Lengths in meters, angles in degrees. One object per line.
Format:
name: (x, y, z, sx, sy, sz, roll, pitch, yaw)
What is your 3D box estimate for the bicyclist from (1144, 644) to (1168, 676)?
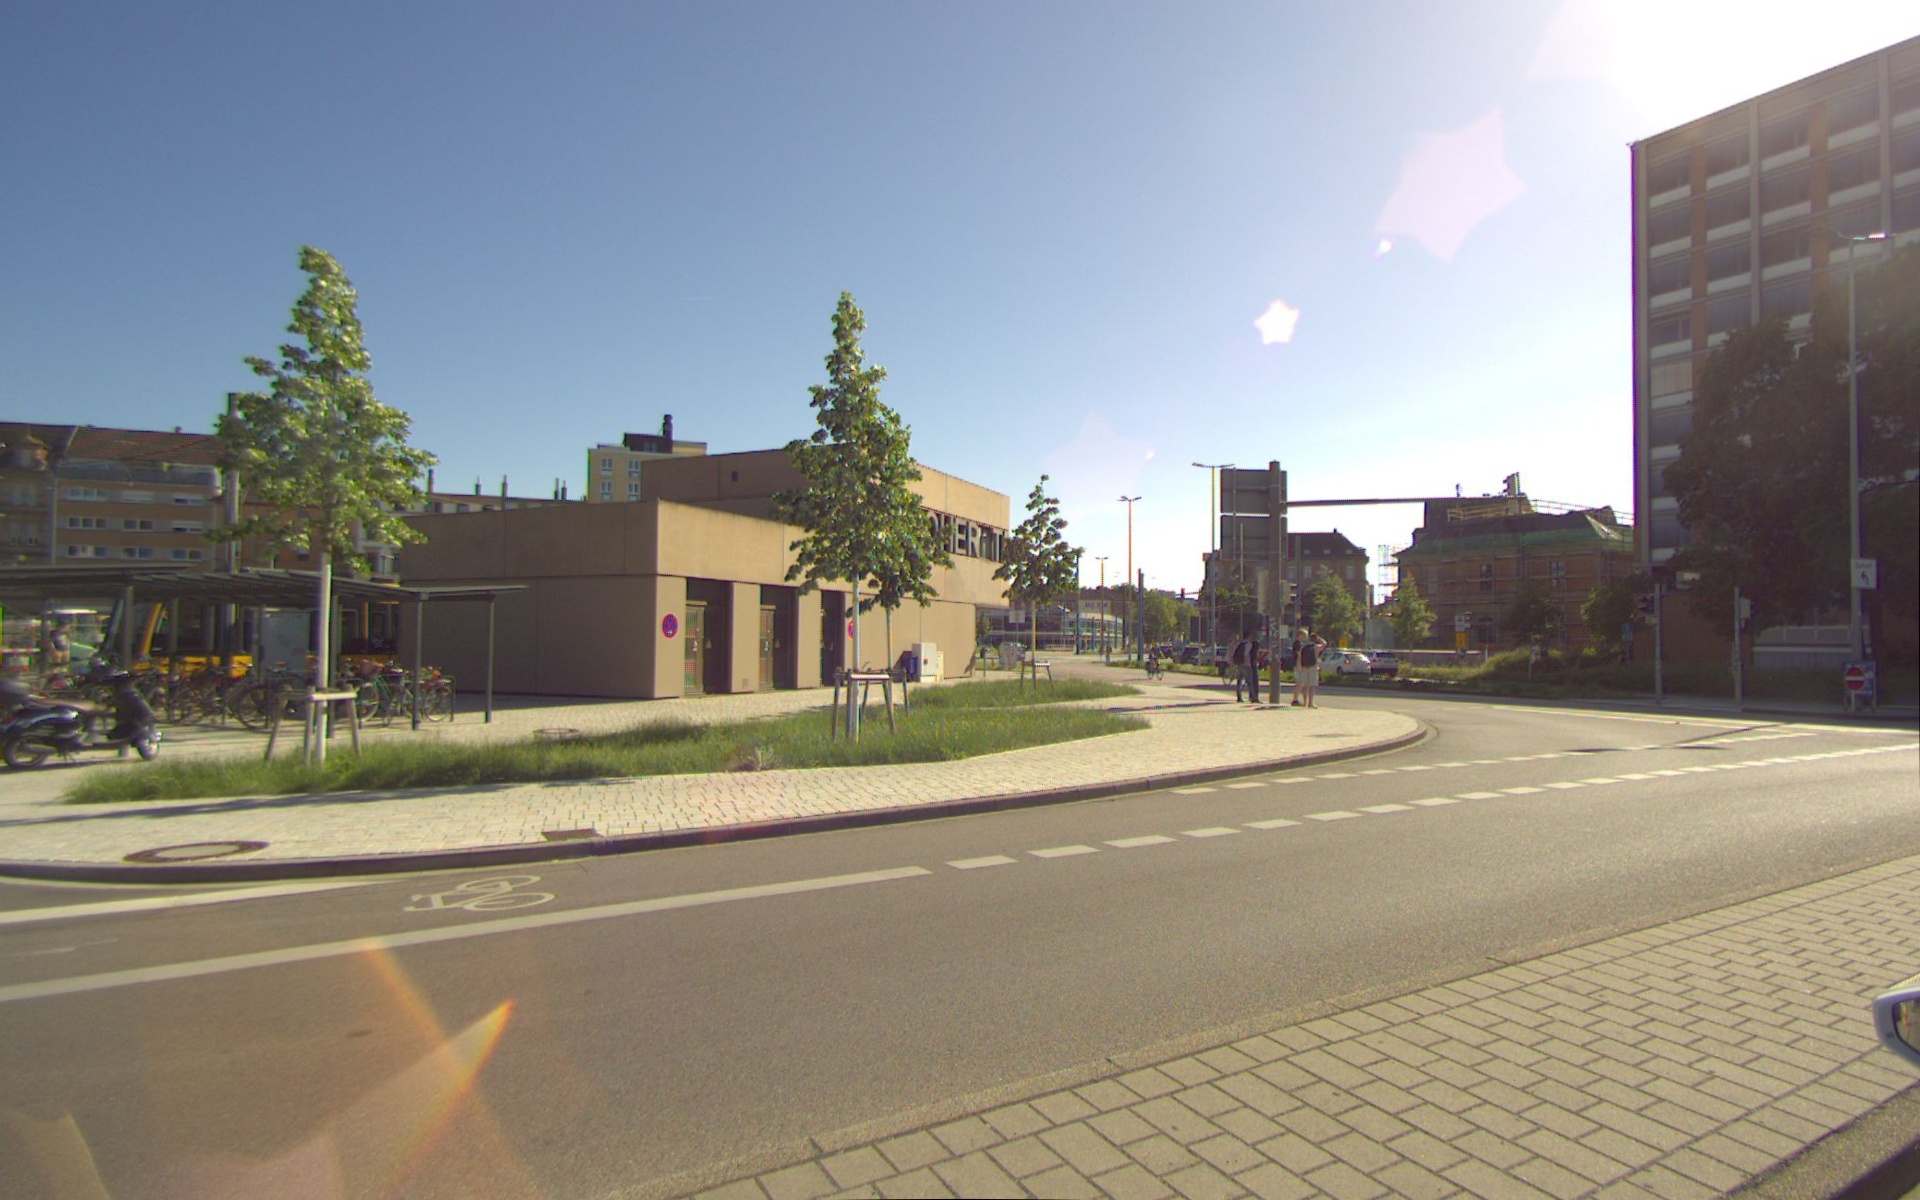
bicyclist: (8.848, 2.722, 45.420, 0.675, 1.440, 1.126, 1, -4, -12)

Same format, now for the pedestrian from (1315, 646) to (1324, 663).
pedestrian: (38.007, 5.763, 106.202, 0.645, 1.758, 0.680, 0, -2, 1)

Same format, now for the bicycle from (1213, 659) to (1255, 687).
bicycle: (10.110, 2.681, 37.128, 0.728, 1.008, 1.988, 1, -4, -11)

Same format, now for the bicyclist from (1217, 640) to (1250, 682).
bicyclist: (10.122, 2.253, 37.153, 0.729, 1.519, 1.069, 1, -4, -15)

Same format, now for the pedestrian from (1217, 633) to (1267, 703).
pedestrian: (7.156, 1.735, 25.469, 0.831, 1.711, 0.896, 5, -5, -34)

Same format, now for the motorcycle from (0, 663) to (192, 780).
motorcycle: (-10.846, 1.450, 12.474, 0.558, 1.235, 2.087, 0, -1, 21)

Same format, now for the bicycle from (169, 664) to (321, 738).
bicycle: (-11.953, 1.657, 16.875, 0.524, 1.051, 2.070, 2, 0, 26)

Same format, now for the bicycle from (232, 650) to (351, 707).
bicycle: (-13.914, 1.618, 20.991, 0.524, 1.051, 2.070, 2, 0, 26)

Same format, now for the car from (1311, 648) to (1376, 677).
car: (21.289, 3.459, 55.922, 1.711, 1.454, 3.843, 1, -2, -10)

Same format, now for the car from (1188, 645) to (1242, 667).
car: (17.273, 3.769, 68.322, 1.810, 1.406, 4.895, 1, -2, -8)

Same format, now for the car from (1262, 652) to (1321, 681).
car: (20.703, 4.137, 62.885, 1.810, 1.653, 4.382, 1, -2, -8)

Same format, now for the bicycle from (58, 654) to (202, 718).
bicycle: (-15.899, 1.627, 19.318, 0.524, 1.051, 2.070, 5, 1, 26)

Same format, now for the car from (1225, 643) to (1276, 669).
car: (20.044, 3.844, 69.430, 1.810, 1.653, 4.382, 1, -2, -8)

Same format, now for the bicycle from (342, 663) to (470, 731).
bicycle: (-9.964, 1.724, 18.159, 0.524, 1.051, 2.070, 2, 0, 26)

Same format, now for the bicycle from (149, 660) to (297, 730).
bicycle: (-12.895, 1.632, 17.655, 0.524, 1.051, 2.070, 2, 0, 26)

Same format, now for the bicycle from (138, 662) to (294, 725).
bicycle: (-13.610, 1.684, 18.466, 0.673, 0.956, 2.233, 2, 0, 25)

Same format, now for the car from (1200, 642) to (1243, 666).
car: (19.623, 4.039, 75.502, 1.809, 1.653, 4.386, 1, -2, -4)

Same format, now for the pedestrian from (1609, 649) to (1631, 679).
pedestrian: (34.901, 3.381, 53.144, 0.549, 1.592, 0.862, 1, -2, -7)

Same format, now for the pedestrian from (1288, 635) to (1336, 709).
pedestrian: (8.404, 1.733, 23.998, 0.775, 1.711, 0.794, 2, -5, -11)

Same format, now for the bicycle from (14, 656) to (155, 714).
bicycle: (-17.768, 1.700, 20.455, 0.524, 1.051, 2.070, 5, 0, 26)

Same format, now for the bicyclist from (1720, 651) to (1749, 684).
bicyclist: (34.977, 3.026, 45.371, 0.587, 1.448, 0.939, 1, -2, -4)

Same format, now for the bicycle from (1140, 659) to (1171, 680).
bicycle: (8.839, 3.121, 45.401, 0.675, 0.930, 1.987, 1, -4, -11)

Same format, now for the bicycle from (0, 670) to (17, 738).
bicycle: (-14.715, 1.544, 14.423, 0.399, 0.985, 1.683, 2, 0, 22)

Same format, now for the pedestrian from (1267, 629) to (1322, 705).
pedestrian: (8.267, 1.665, 24.871, 1.082, 1.822, 0.705, 2, -4, -7)

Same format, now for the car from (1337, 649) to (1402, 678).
car: (26.323, 4.048, 64.742, 1.809, 1.653, 4.836, 1, -2, -6)

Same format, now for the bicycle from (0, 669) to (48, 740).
bicycle: (-14.197, 1.528, 14.374, 0.399, 0.985, 1.683, 2, 0, 22)

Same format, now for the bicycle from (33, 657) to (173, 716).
bicycle: (-16.880, 1.680, 19.847, 0.524, 1.051, 2.070, -2, -2, 26)

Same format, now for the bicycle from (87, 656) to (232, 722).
bicycle: (-15.014, 1.643, 18.904, 0.524, 1.051, 2.070, 5, 1, 26)

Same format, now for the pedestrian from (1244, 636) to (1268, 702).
pedestrian: (7.977, 1.853, 27.103, 0.585, 1.751, 0.580, 0, -2, 14)

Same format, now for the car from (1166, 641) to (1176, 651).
car: (47.718, 10.430, 227.535, 1.959, 2.040, 4.003, 0, -2, 7)

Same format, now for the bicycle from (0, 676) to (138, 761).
bicycle: (-12.199, 1.576, 13.576, 0.399, 0.985, 1.683, 2, 0, 22)

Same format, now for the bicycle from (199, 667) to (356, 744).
bicycle: (-10.900, 1.652, 16.131, 0.524, 1.051, 2.070, 2, 0, 26)

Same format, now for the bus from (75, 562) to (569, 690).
bus: (-18.472, 0.872, 31.263, 2.810, 3.112, 13.620, 0, -2, 25)

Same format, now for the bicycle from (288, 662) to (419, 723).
bicycle: (-11.760, 1.770, 19.570, 0.679, 1.011, 2.140, 2, 0, 26)

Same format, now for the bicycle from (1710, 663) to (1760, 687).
bicycle: (34.973, 3.387, 45.359, 0.587, 0.976, 2.082, 1, -2, -3)

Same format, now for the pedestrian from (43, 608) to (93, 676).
pedestrian: (-26.120, 1.227, 29.431, 0.755, 1.942, 0.803, 0, -2, 23)

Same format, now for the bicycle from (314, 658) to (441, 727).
bicycle: (-10.794, 1.686, 18.697, 0.594, 1.093, 2.053, 2, 0, 25)

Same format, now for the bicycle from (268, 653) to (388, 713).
bicycle: (-12.739, 1.650, 20.326, 0.524, 1.051, 2.070, 2, 0, 26)

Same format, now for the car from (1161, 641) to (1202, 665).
car: (16.526, 3.943, 75.121, 1.809, 1.653, 4.386, 1, -2, -4)

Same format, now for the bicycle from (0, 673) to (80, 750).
bicycle: (-13.227, 1.546, 13.811, 0.399, 0.985, 1.683, 2, 0, 22)

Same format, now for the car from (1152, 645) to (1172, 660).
car: (22.822, 5.939, 113.813, 1.807, 1.653, 4.390, 0, -2, 6)
